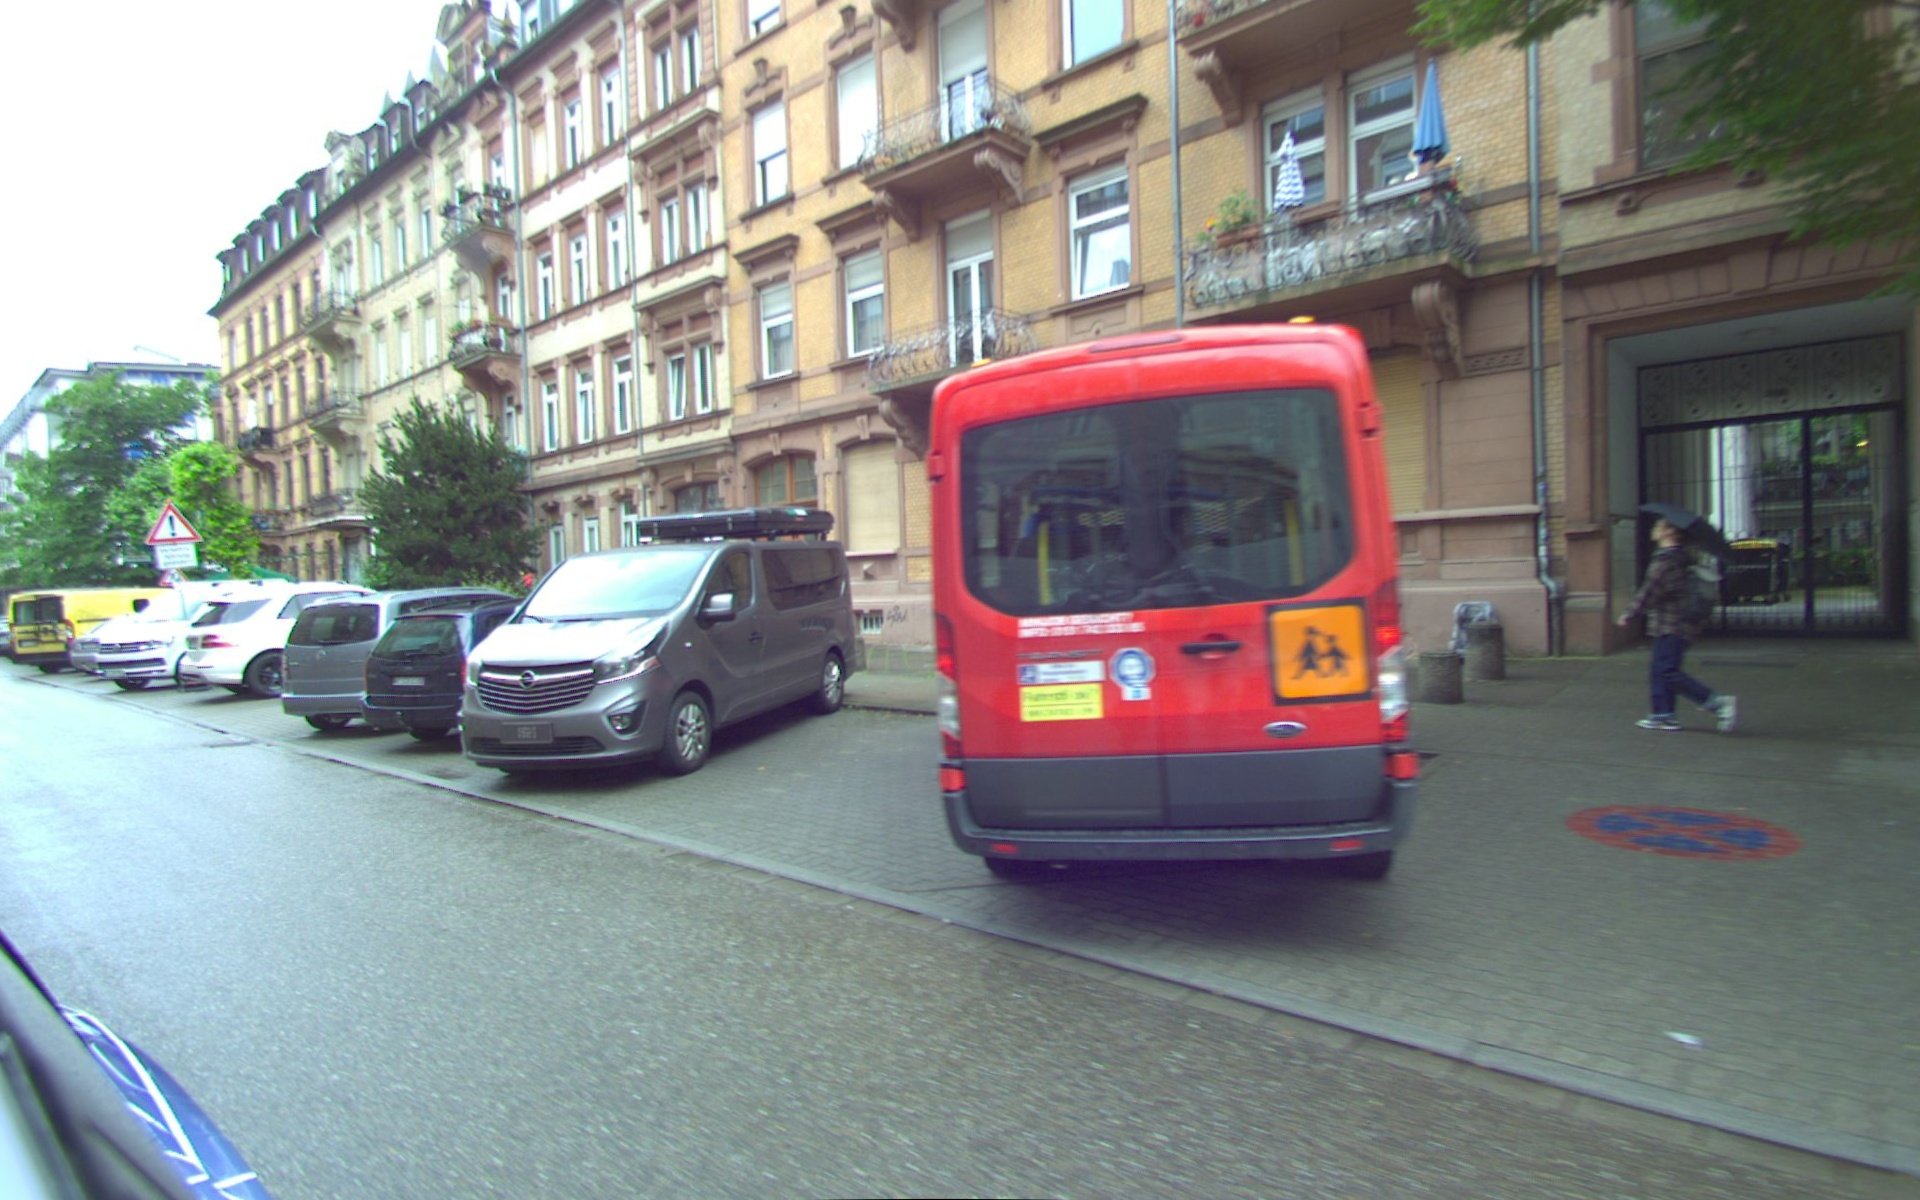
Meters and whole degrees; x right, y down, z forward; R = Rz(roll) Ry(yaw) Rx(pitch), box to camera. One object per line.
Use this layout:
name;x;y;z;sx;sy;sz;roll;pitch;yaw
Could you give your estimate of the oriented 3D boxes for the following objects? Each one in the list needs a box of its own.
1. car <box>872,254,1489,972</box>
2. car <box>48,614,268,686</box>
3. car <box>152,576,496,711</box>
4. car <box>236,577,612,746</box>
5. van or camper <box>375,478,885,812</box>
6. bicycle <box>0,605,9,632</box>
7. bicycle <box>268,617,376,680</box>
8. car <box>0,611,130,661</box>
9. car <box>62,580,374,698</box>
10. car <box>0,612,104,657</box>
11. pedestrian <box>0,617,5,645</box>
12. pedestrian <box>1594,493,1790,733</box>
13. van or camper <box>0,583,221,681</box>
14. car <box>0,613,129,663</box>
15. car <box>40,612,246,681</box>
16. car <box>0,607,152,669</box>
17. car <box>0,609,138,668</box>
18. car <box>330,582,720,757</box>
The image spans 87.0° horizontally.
car;1.410;0.022;6.578;2.207;2.560;5.550;-2;1;14
car;-19.474;1.160;24.804;1.766;1.446;3.984;-2;1;13
car;-11.115;0.654;17.945;2.544;1.798;4.533;-2;3;40
car;-6.769;0.663;13.456;1.827;1.642;4.425;-3;3;15
van or camper;-2.694;0.296;9.891;2.323;2.366;5.002;-2;1;15
bicycle;-42.291;0.847;43.939;1.665;1.152;0.585;-2;2;14
bicycle;-13.083;0.999;20.756;2.023;1.183;0.542;-2;1;11
car;-36.635;1.426;40.865;1.976;1.574;4.716;-4;3;7
car;-15.320;0.689;21.363;1.854;2.094;5.225;-1;2;17
car;-40.262;1.479;44.036;1.975;1.575;4.453;-1;3;5
pedestrian;-63.588;2.063;66.874;0.595;1.862;0.770;-3;1;-40
pedestrian;5.464;0.071;7.595;1.088;1.641;0.893;-2;4;36
van or camper;-24.011;0.802;28.659;2.160;2.284;4.715;-4;2;9
car;-34.769;1.426;39.003;1.779;1.504;4.132;-2;4;6
car;-21.515;1.171;26.874;1.942;1.506;3.907;-2;1;10
car;-30.360;1.257;34.658;1.778;1.674;4.133;-2;4;5
car;-32.643;1.359;36.846;1.778;1.674;4.133;-2;3;5
car;-4.806;0.670;11.978;1.741;1.515;4.331;-3;2;19
